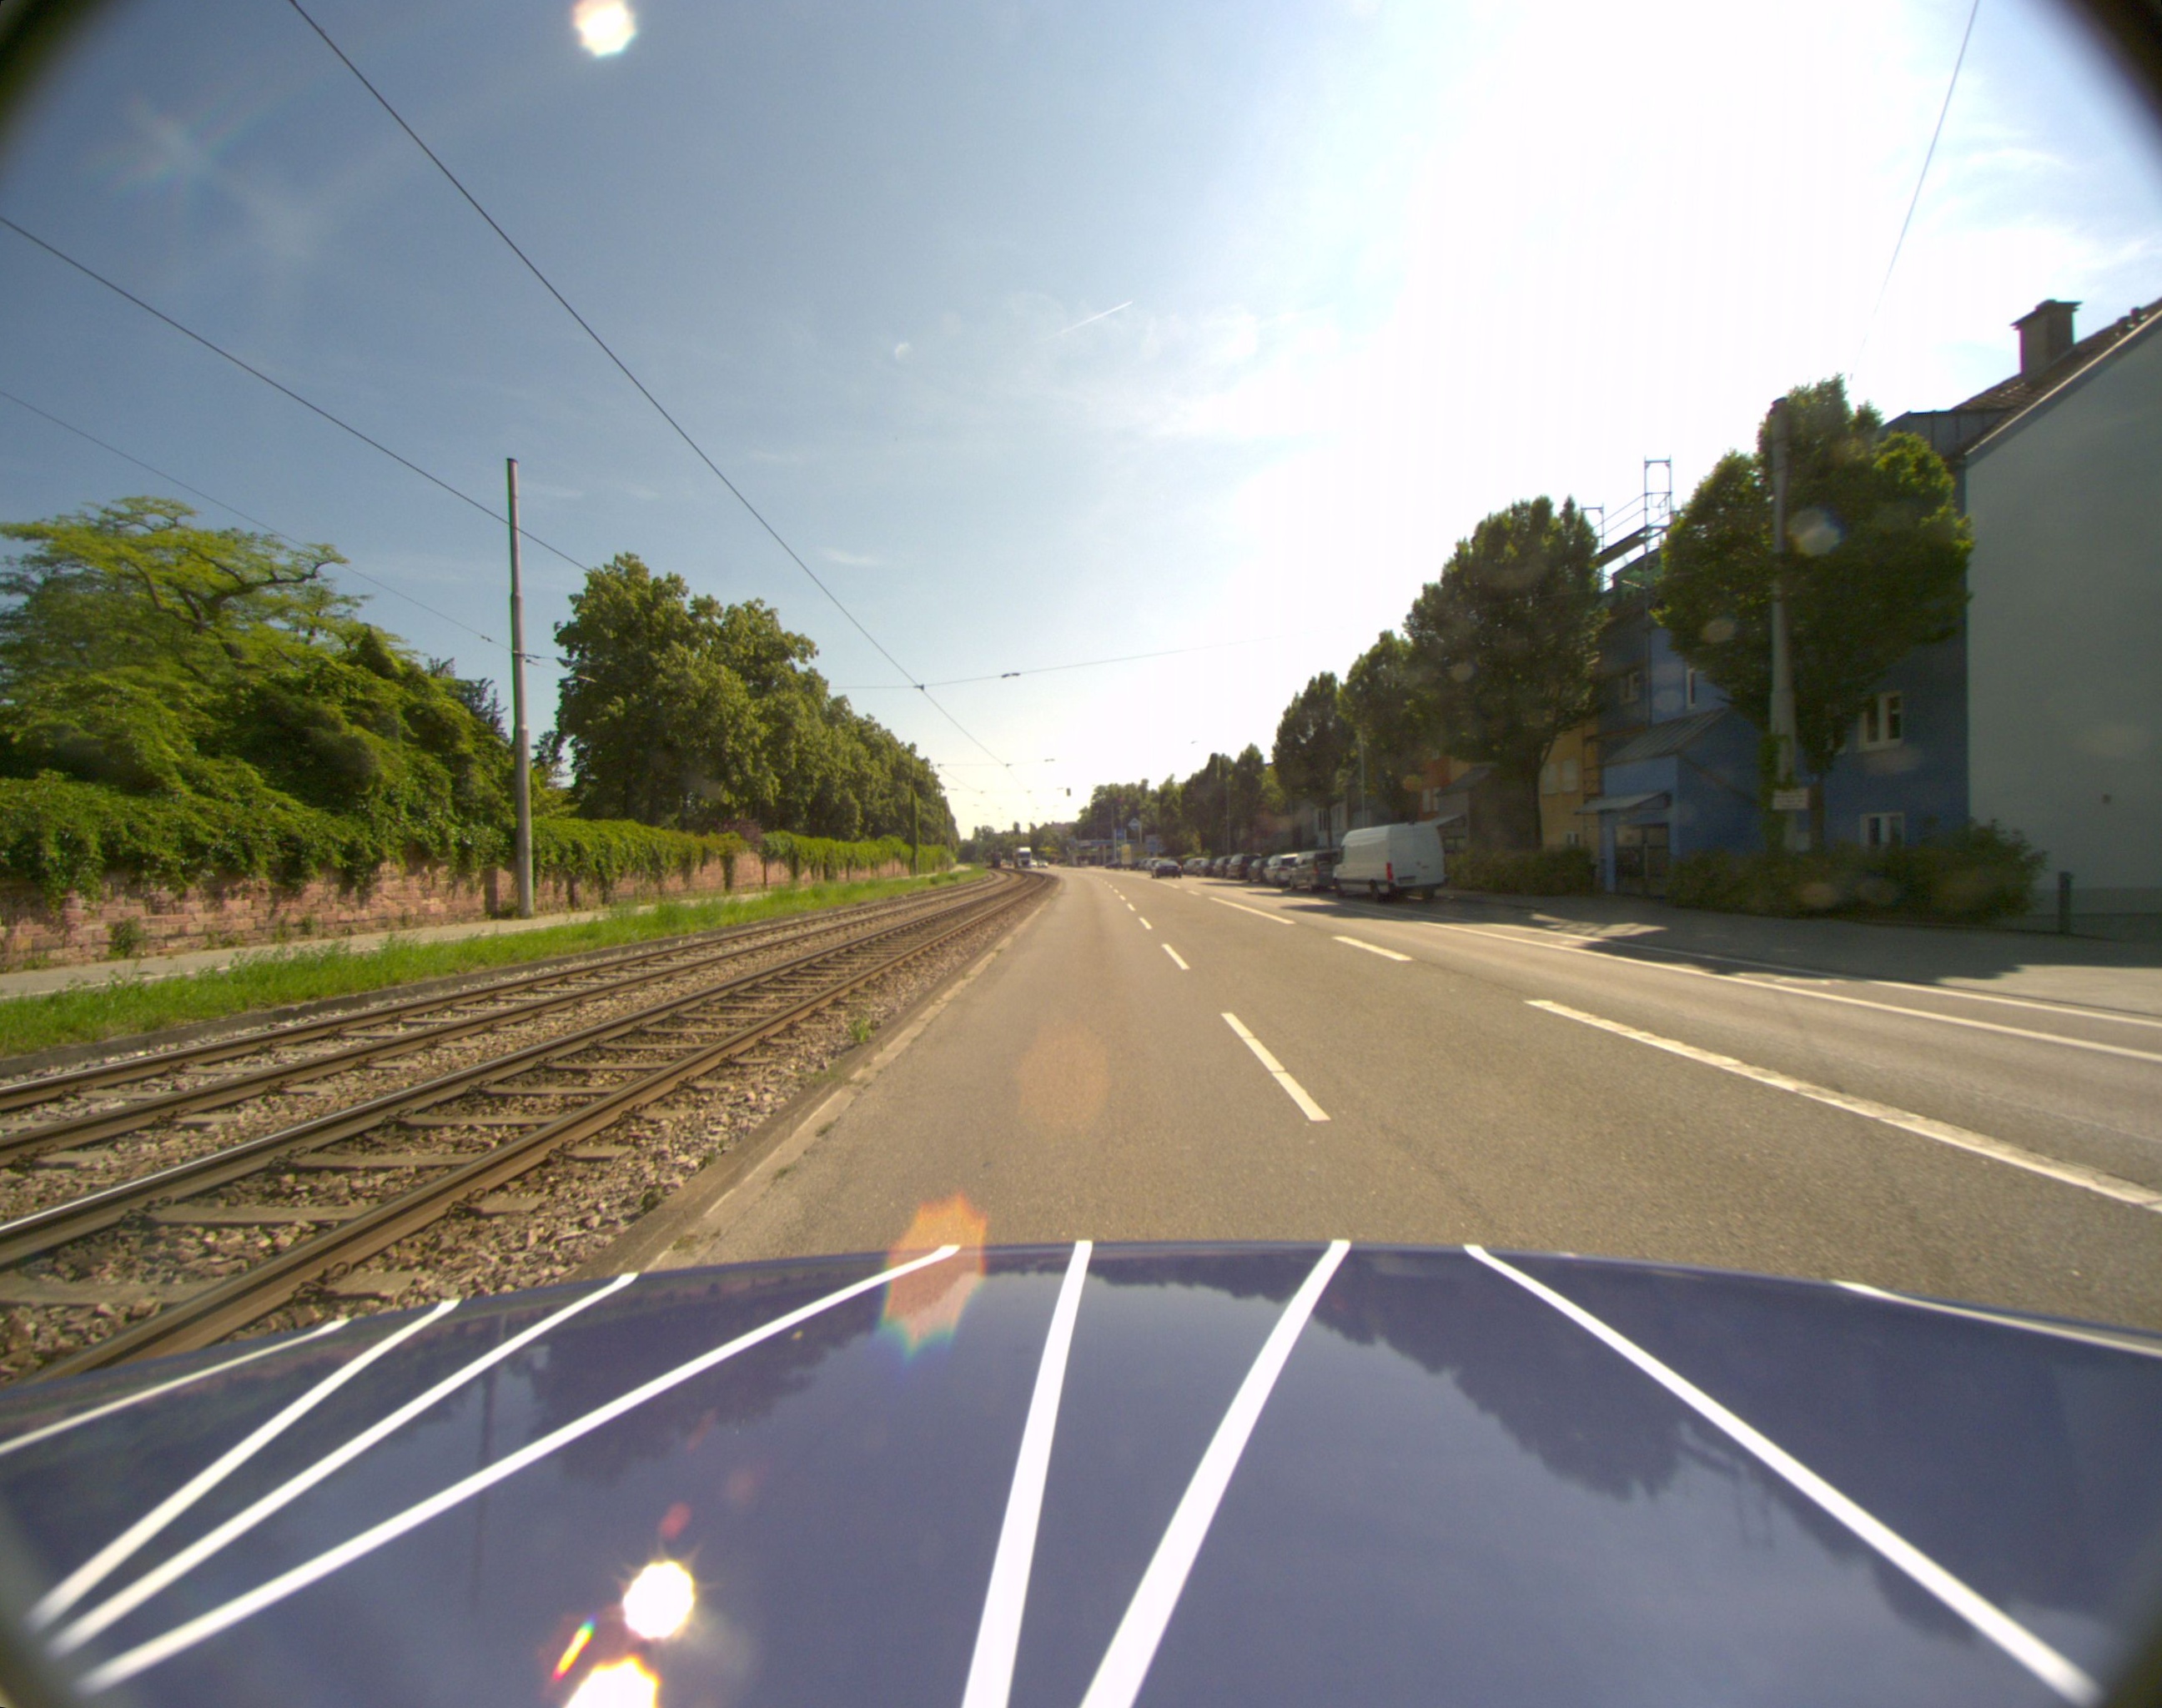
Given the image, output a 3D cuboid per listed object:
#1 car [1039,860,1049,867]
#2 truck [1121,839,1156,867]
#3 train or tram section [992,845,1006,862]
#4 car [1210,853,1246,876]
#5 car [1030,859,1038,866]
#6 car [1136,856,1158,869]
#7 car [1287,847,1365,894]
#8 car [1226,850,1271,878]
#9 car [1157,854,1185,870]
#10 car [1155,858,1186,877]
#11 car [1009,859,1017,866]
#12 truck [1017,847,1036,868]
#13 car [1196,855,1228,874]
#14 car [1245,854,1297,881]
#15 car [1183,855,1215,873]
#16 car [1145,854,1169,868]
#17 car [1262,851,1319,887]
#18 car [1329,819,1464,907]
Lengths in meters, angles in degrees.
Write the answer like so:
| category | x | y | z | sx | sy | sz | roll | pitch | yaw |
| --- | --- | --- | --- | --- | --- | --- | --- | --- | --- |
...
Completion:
| category | x | y | z | sx | sy | sz | roll | pitch | yaw |
| --- | --- | --- | --- | --- | --- | --- | --- | --- | --- |
| car | -7.139 | 1.827 | 147.217 | 1.748 | 1.421 | 5.039 | -2 | 0 | -5 |
| truck | 7.538 | -0.079 | 101.358 | 3.165 | 3.533 | 8.780 | -1 | 0 | -6 |
| train or tram section | -19.014 | -0.033 | 176.571 | 2.722 | 3.716 | 18.869 | -2 | 0 | -5 |
| car | 11.097 | 0.771 | 57.428 | 1.681 | 1.598 | 4.164 | -3 | 0 | -3 |
| car | -10.339 | 1.887 | 166.599 | 1.785 | 1.538 | 4.392 | -3 | 0 | -4 |
| car | 8.152 | 1.053 | 93.988 | 1.915 | 1.469 | 4.214 | -3 | 0 | -5 |
| car | 11.406 | 0.718 | 35.758 | 1.998 | 1.855 | 4.967 | -5 | 0 | 1 |
| car | 11.371 | 0.647 | 51.743 | 1.834 | 1.718 | 4.349 | -3 | 0 | -3 |
| car | 9.605 | 0.801 | 81.658 | 1.910 | 1.567 | 4.929 | -3 | 0 | -5 |
| car | 6.163 | 0.928 | 52.734 | 1.691 | 1.237 | 4.064 | 1 | 0 | 1 |
| car | -19.000 | 2.328 | 212.434 | 1.854 | 1.707 | 3.997 | -3 | 1 | -6 |
| truck | -10.535 | 0.666 | 146.111 | 2.807 | 3.926 | 11.935 | -1 | 0 | -7 |
| car | 10.868 | 0.863 | 63.141 | 1.681 | 1.462 | 4.212 | -3 | 0 | -3 |
| car | 11.610 | 0.800 | 46.668 | 1.871 | 1.447 | 4.074 | -5 | 1 | -3 |
| car | 10.780 | 0.884 | 69.849 | 1.682 | 1.437 | 4.835 | -3 | 0 | -5 |
| car | 8.911 | 0.814 | 89.103 | 2.040 | 1.490 | 4.131 | -3 | 0 | -5 |
| car | 11.306 | 0.748 | 41.374 | 1.852 | 1.693 | 4.540 | -5 | 1 | 2 |
| car | 11.156 | 0.288 | 27.637 | 1.998 | 2.661 | 7.087 | -4 | 0 | 2 |
